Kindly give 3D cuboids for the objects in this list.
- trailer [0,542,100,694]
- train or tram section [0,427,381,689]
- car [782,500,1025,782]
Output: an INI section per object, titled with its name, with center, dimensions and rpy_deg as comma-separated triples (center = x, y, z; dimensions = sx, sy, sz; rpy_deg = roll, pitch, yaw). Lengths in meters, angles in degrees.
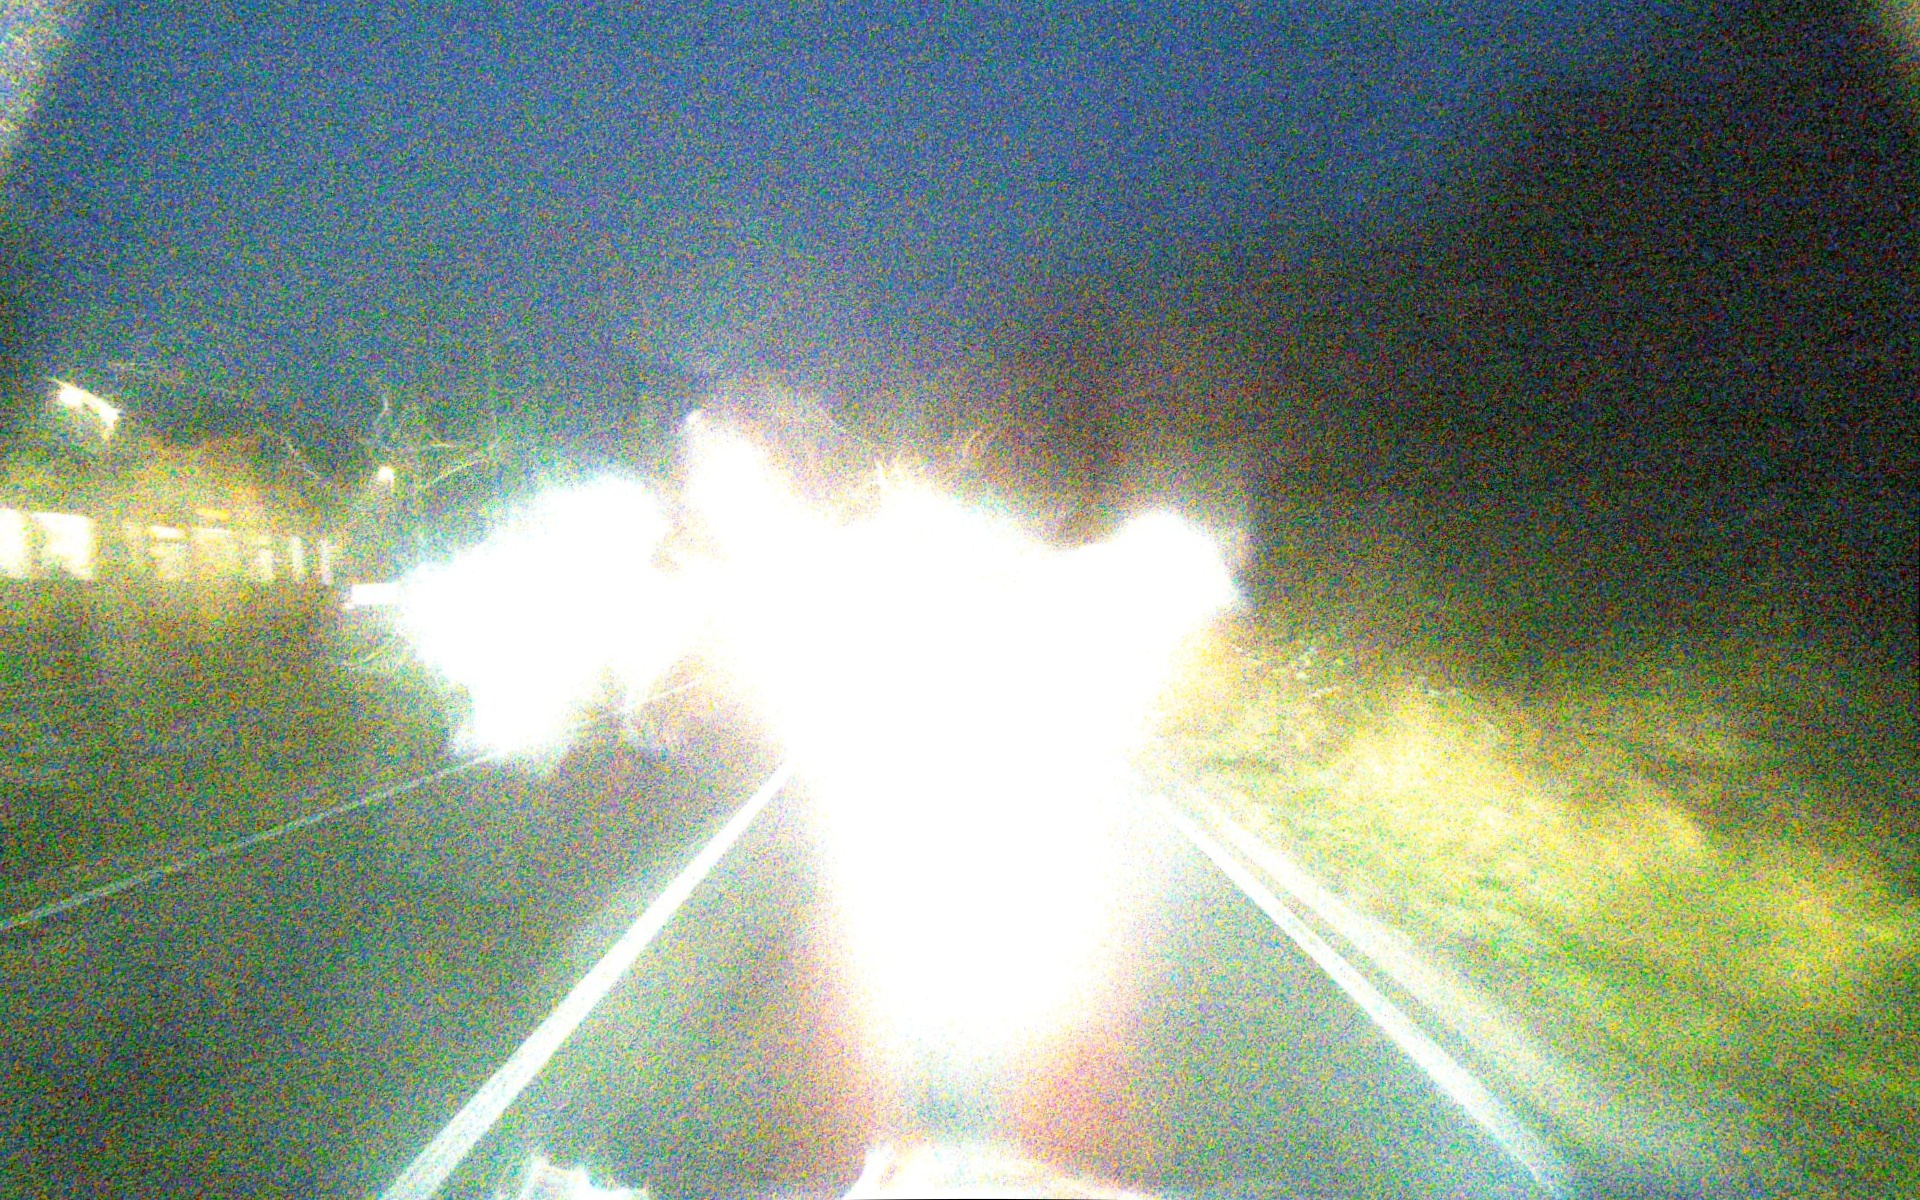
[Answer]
[trailer]
center = -31.525, 0.506, 49.973
dimensions = 3.890, 4.690, 14.243
rpy_deg = 1, 0, -2
[train or tram section]
center = -15.532, -0.658, 22.882
dimensions = 2.641, 3.881, 37.135
rpy_deg = 1, 0, -1
[car]
center = -0.576, 0.278, 14.865
dimensions = 1.756, 2.057, 4.576
rpy_deg = -3, 1, -4
